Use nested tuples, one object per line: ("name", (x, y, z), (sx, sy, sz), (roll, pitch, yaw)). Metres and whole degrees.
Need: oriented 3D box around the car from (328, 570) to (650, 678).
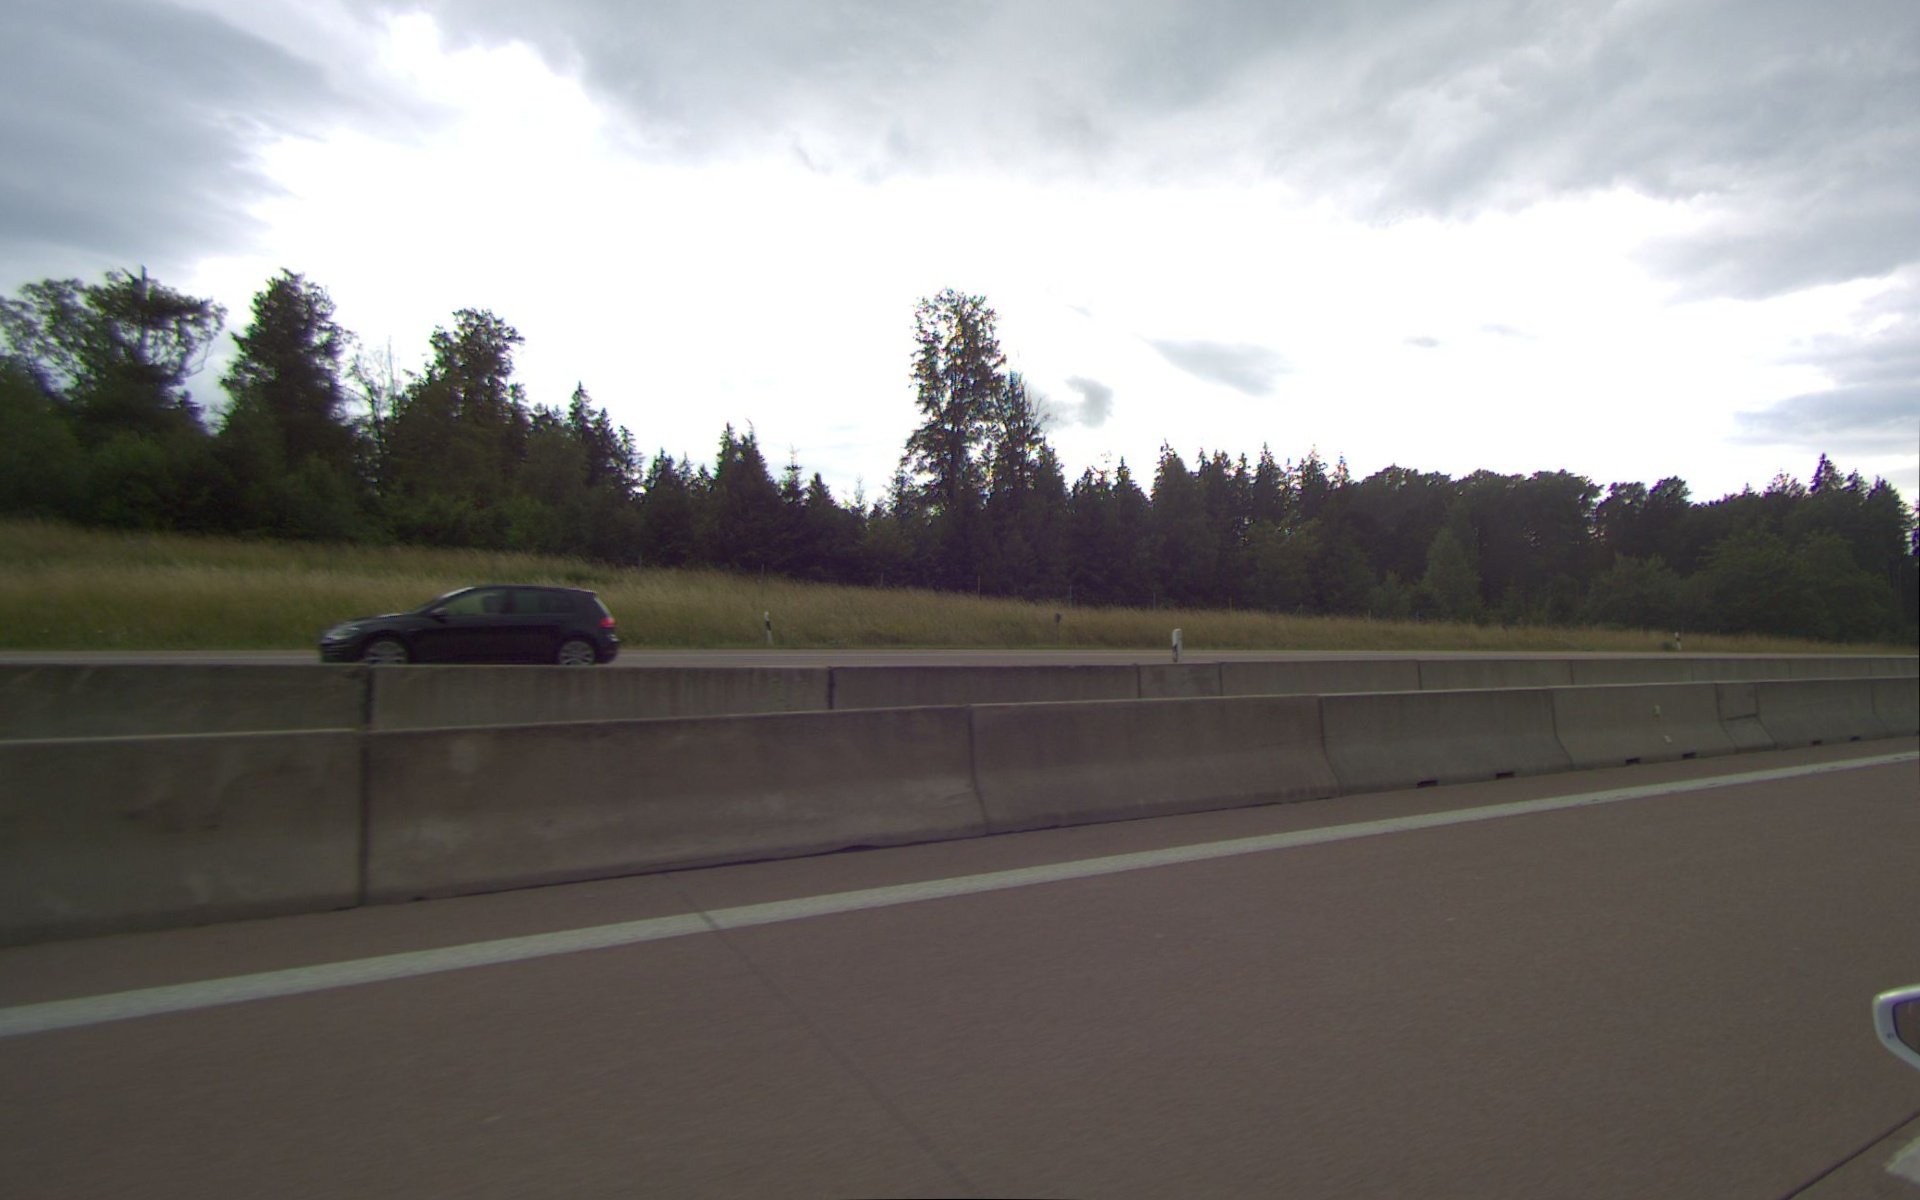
("car", (-7.397, 0.411, 15.973), (4.374, 1.507, 1.920), (3, -1, -31))
